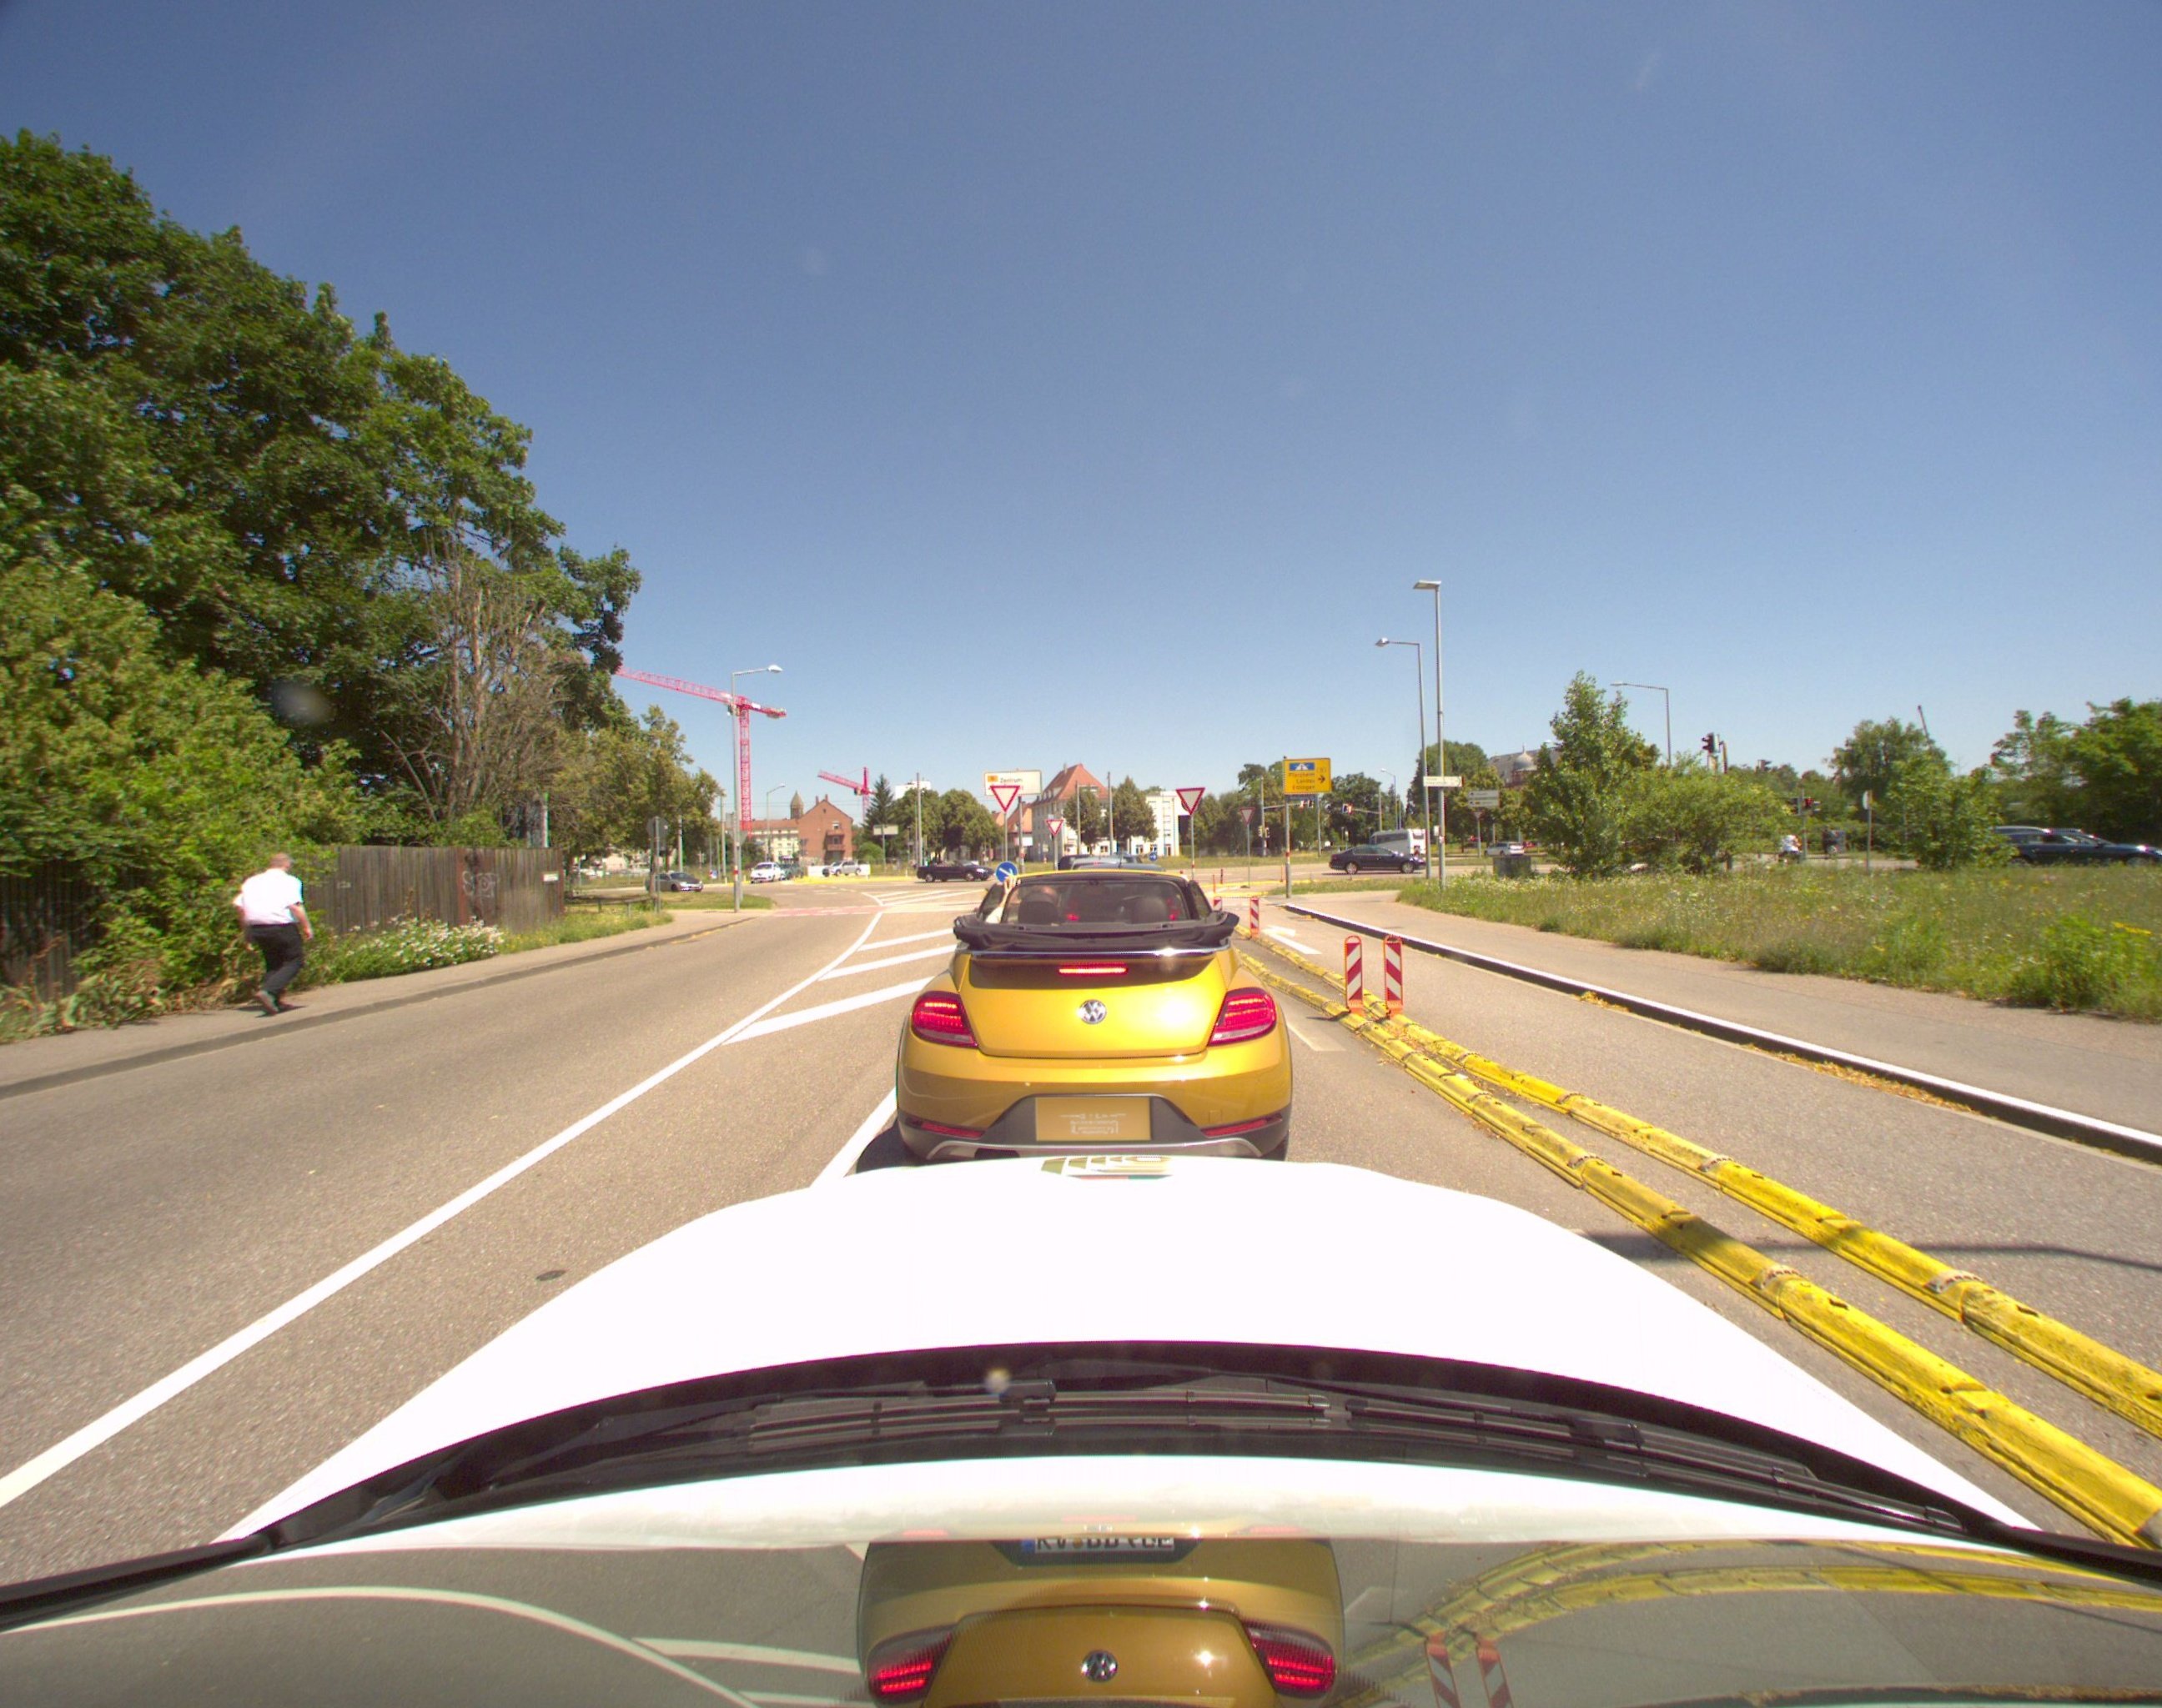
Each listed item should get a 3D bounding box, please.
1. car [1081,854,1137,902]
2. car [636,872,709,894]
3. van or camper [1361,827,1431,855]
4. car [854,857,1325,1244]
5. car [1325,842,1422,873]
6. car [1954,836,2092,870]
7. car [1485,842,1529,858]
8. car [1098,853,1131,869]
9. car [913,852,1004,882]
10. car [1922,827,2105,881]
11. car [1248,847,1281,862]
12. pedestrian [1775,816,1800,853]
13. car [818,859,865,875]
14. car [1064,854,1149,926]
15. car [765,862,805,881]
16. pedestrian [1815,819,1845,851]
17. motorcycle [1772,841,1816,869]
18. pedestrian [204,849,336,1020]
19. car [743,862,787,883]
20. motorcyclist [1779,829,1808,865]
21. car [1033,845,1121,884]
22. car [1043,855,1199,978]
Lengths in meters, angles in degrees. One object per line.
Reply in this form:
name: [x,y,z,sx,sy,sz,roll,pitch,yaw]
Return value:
car: [0.946,0.758,27.579,1.730,1.477,4.002,-1,0,2]
car: [-25.834,1.819,51.485,4.225,1.316,1.833,-1,0,24]
van or camper: [32.647,-1.309,84.791,2.514,2.693,7.460,-1,0,-20]
car: [0.083,0.748,4.952,1.746,1.422,3.779,-1,0,1]
car: [14.831,0.179,41.558,4.486,1.447,1.830,-1,0,14]
car: [49.291,-0.018,42.793,1.746,1.688,4.635,-1,0,-43]
car: [38.730,-0.326,74.092,1.648,1.424,3.786,-1,0,-7]
car: [4.100,0.831,101.096,3.975,1.838,1.999,-1,0,-1]
car: [-7.148,0.732,47.565,4.894,1.656,2.011,-1,0,22]
car: [33.260,0.026,29.243,3.948,1.816,2.013,-1,0,36]
car: [20.446,0.047,90.900,1.660,1.606,3.189,-1,0,-43]
pedestrian: [36.589,-0.997,42.168,0.647,1.870,0.737,-1,0,3]
car: [-23.256,1.253,79.052,1.690,1.500,4.247,-1,0,34]
car: [0.587,0.751,18.780,1.730,1.442,4.002,-1,0,2]
car: [-25.124,1.454,69.235,1.749,1.549,4.002,-1,0,2]
pedestrian: [37.743,-0.941,41.055,0.788,1.563,0.824,-1,0,9]
motorcycle: [25.810,0.032,29.478,1.712,0.970,0.625,-1,0,-28]
pedestrian: [-9.094,0.869,9.165,0.590,1.825,0.851,-1,0,3]
car: [-24.678,1.427,63.695,1.749,1.549,4.002,-1,0,2]
motorcyclist: [25.830,-0.256,29.524,0.616,1.289,0.576,-1,-1,-27]
car: [-0.157,0.502,40.088,3.960,1.816,2.007,-1,0,12]
car: [0.545,0.759,11.762,1.841,1.442,4.002,-1,0,2]
